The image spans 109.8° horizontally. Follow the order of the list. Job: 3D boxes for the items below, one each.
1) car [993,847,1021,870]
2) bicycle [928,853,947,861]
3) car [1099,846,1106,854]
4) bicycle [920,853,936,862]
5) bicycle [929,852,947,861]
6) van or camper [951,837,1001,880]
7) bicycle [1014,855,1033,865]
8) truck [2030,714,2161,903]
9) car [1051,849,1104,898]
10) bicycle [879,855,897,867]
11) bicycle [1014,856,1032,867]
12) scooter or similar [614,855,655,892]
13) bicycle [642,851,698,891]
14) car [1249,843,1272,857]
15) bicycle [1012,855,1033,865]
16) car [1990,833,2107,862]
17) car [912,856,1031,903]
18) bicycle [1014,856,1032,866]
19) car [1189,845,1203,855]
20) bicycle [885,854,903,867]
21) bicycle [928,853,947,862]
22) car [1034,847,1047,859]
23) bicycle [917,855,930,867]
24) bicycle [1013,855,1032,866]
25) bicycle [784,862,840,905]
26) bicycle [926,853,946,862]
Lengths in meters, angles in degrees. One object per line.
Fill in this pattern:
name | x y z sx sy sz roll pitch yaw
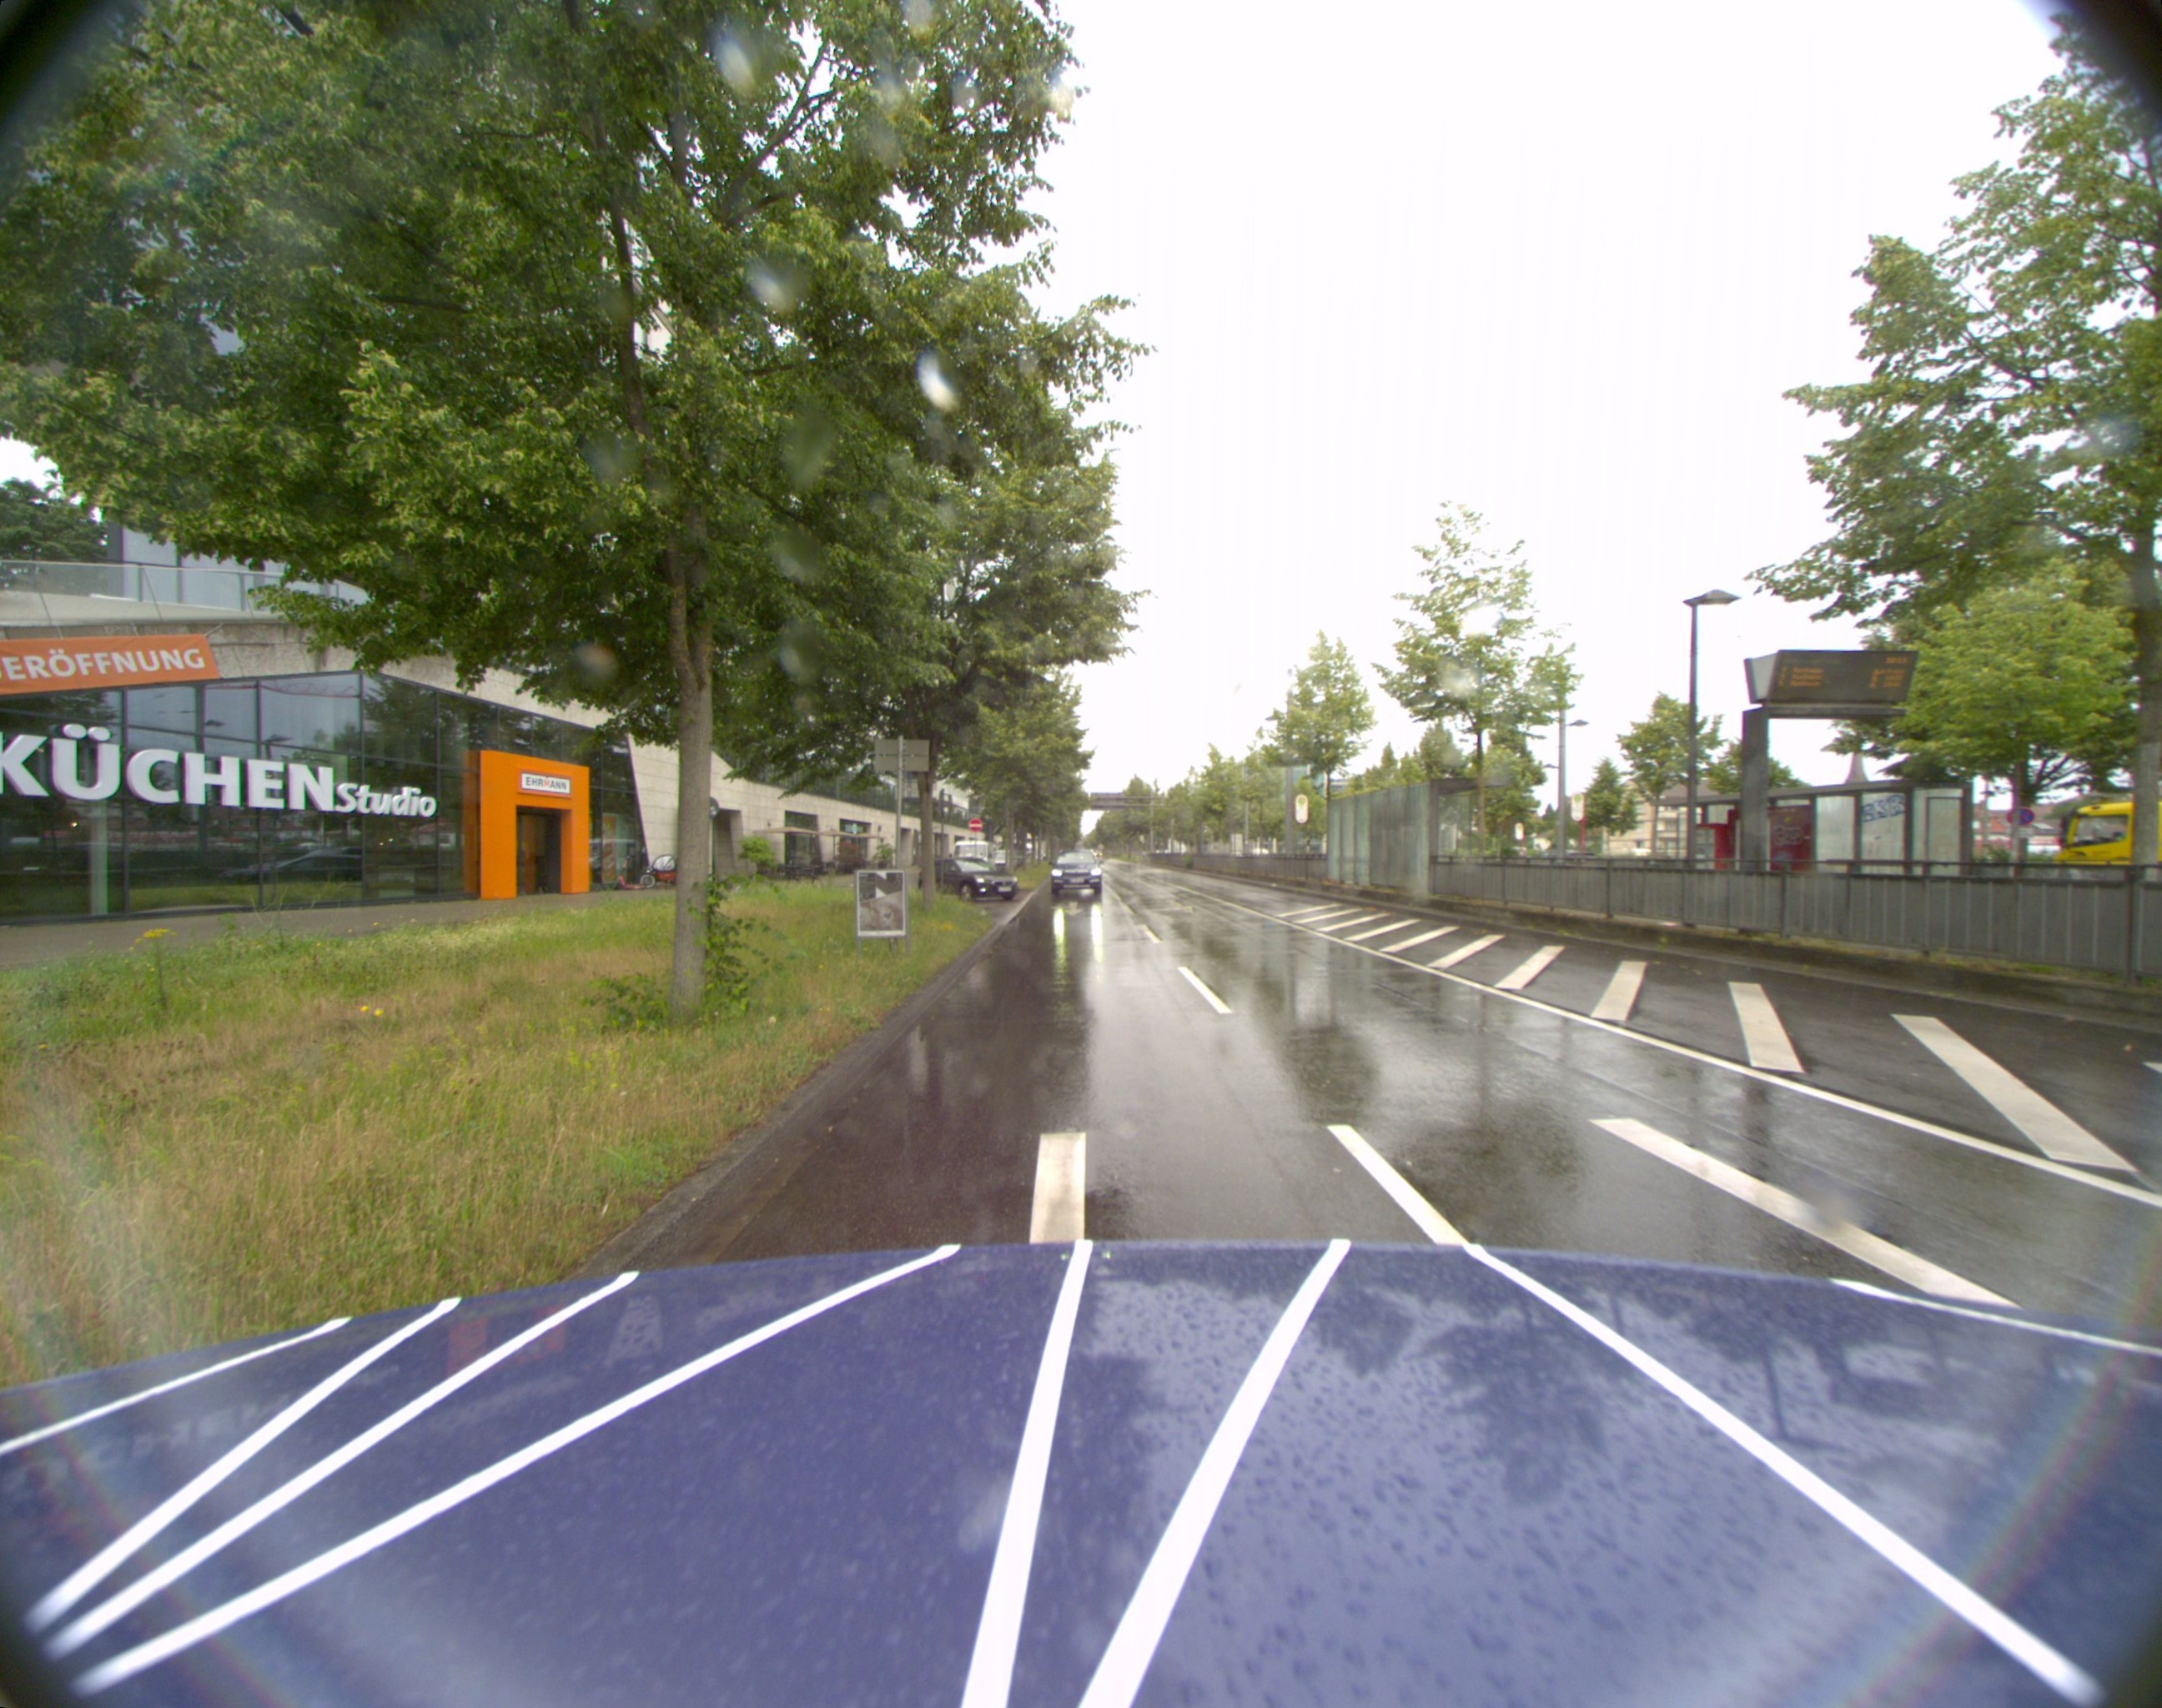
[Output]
car | -5.896 0.320 61.168 1.746 1.749 4.847 -1 1 0
bicycle | -15.805 0.336 83.833 2.029 0.940 0.395 1 1 -4
car | 5.824 -1.058 205.844 1.998 2.232 3.999 -2 1 1
bicycle | -15.919 0.390 79.104 1.657 0.940 0.347 1 1 19
bicycle | -15.883 0.317 84.408 2.029 0.940 0.395 1 1 -4
van or camper | -5.853 0.203 42.955 2.030 2.279 5.459 -1 1 0
bicycle | -5.642 0.610 74.469 1.882 0.940 0.395 -2 2 -4
truck | 22.934 -0.915 12.668 2.694 3.756 9.180 -2 1 -1
car | -0.101 0.680 28.992 1.816 1.603 3.999 -2 1 1
bicycle | -15.358 0.551 60.391 0.396 0.940 2.024 -4 2 -45
bicycle | -5.471 0.683 71.951 1.699 0.940 0.395 -2 2 -4
scooter or similar | -15.643 0.677 26.639 0.342 1.221 1.242 -2 1 19
bicycle | -15.399 0.608 28.530 0.734 1.394 2.425 1 0 1
car | 25.393 -0.578 107.584 1.999 1.736 3.998 -2 1 -2
bicycle | -5.774 0.605 74.954 2.007 0.940 0.395 -2 2 -4
car | 84.339 -0.574 66.407 2.000 2.293 6.138 -3 1 -8
car | -3.752 0.794 25.574 1.836 1.412 4.333 -2 1 -42
bicycle | -5.536 0.653 72.634 1.649 0.940 0.395 -2 2 -4
car | 23.600 -0.838 155.908 1.999 1.736 3.998 -2 1 -2
bicycle | -15.002 0.528 60.900 0.396 0.940 2.024 -4 2 -45
bicycle | -15.759 0.342 83.241 2.029 0.940 0.395 1 1 -4
car | -5.866 -0.185 110.475 1.659 1.711 3.999 -2 1 0
bicycle | -13.079 0.579 63.135 0.402 0.940 1.859 -1 1 8
bicycle | -5.674 0.623 73.905 1.862 0.940 0.395 -2 2 -4
bicycle | -8.586 0.933 24.265 1.843 1.338 0.533 -1 0 26
bicycle | -15.732 0.348 82.540 2.029 0.940 0.395 1 1 -4
